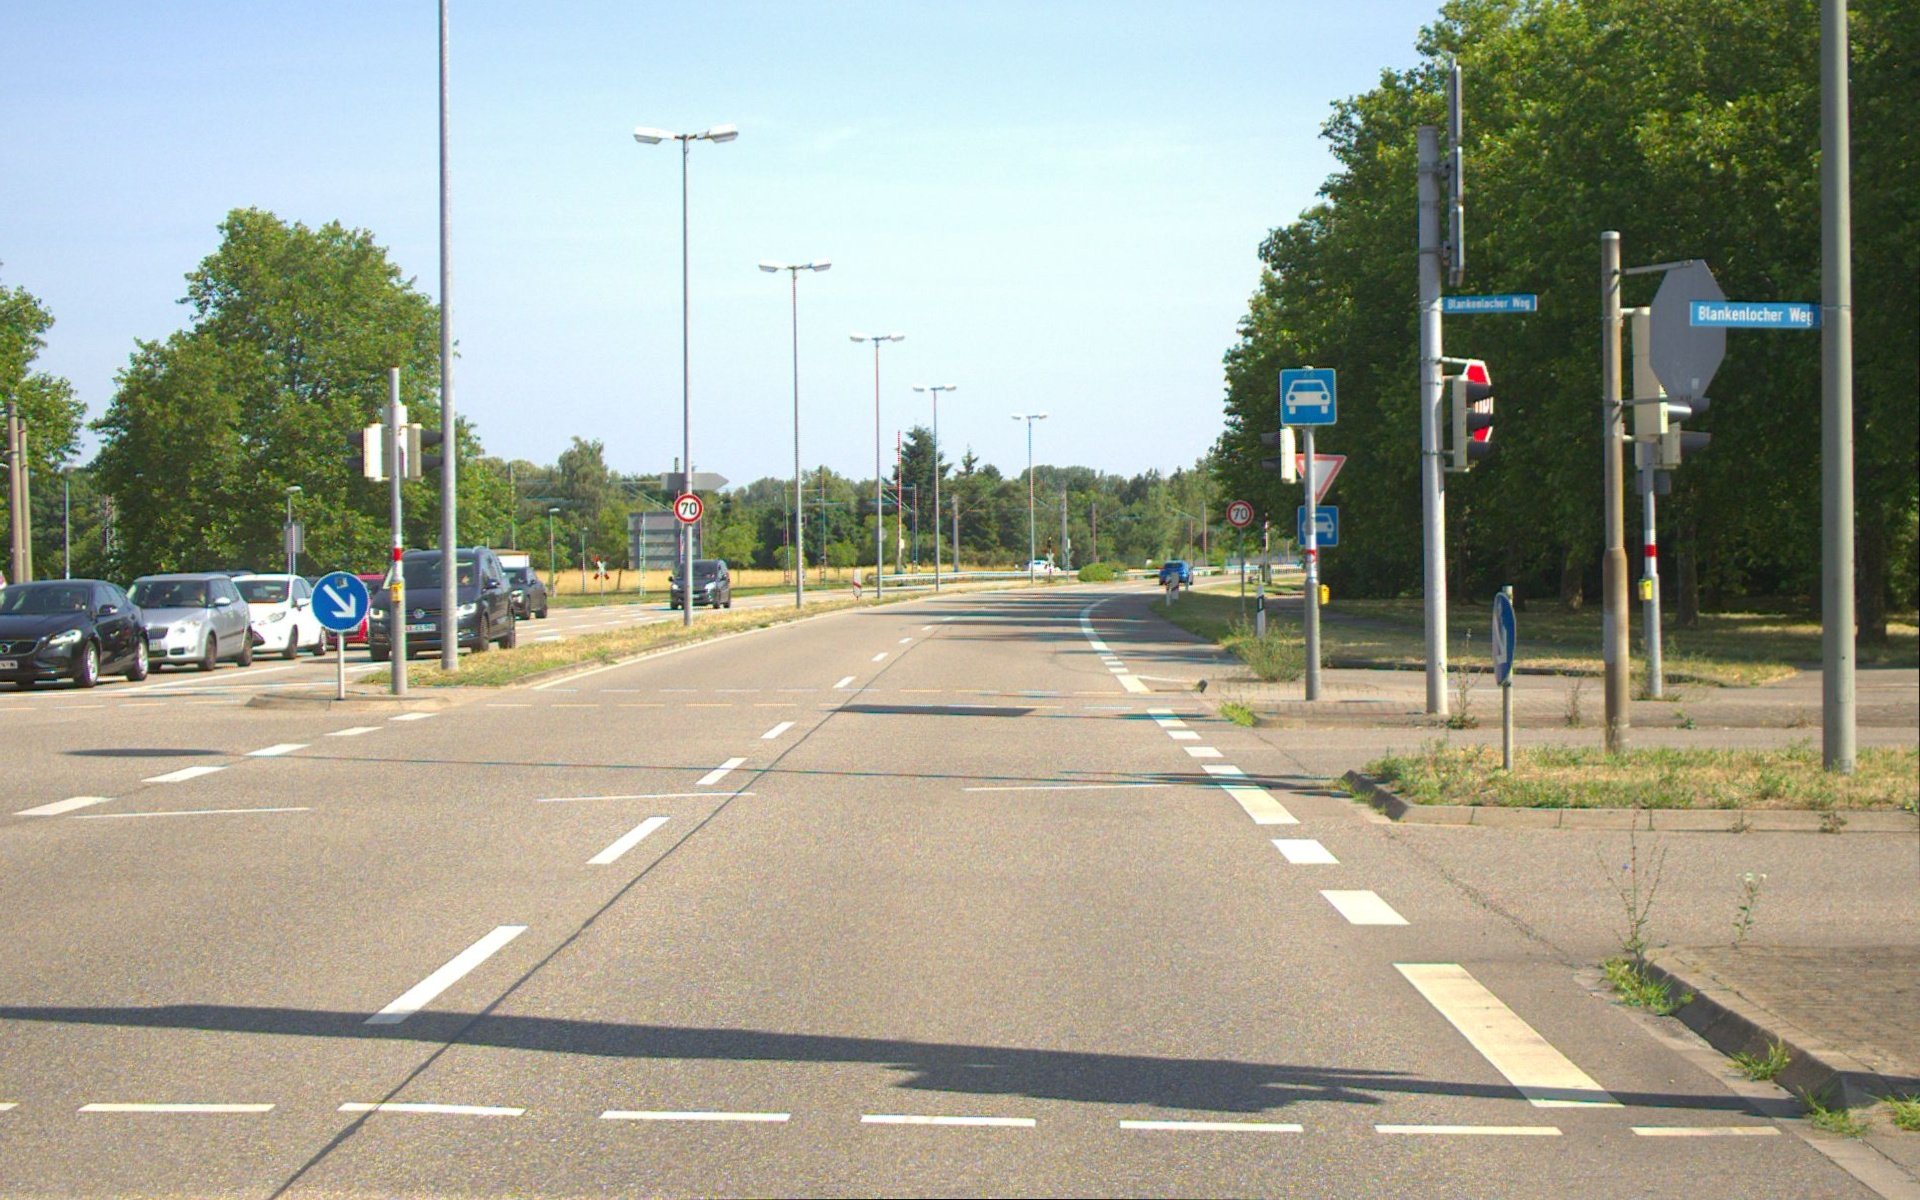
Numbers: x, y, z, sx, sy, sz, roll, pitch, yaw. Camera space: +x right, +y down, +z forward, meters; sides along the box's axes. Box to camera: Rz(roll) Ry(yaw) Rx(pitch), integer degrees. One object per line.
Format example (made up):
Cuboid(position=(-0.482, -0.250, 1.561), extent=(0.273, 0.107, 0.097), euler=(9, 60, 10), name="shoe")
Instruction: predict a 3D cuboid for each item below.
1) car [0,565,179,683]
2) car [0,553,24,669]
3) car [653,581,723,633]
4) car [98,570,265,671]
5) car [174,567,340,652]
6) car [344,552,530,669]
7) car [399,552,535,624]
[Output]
Cuboid(position=(-11.875, 0.289, 45.194), extent=(1.981, 1.452, 4.332), euler=(-1, 1, 3), name="car")
Cuboid(position=(-15.424, 0.204, 51.602), extent=(1.704, 1.763, 4.230), euler=(-2, 1, -2), name="car")
Cuboid(position=(-9.745, 0.221, 123.468), extent=(1.981, 1.773, 4.489), euler=(-1, 1, 2), name="car")
Cuboid(position=(-11.796, 0.279, 52.306), extent=(1.619, 1.452, 3.871), euler=(-1, 1, 0), name="car")
Cuboid(position=(-12.010, 0.138, 58.948), extent=(1.829, 1.381, 3.843), euler=(-1, 1, 3), name="car")
Cuboid(position=(-8.213, 0.131, 54.338), extent=(1.981, 1.744, 4.507), euler=(-1, 1, 3), name="car")
Cuboid(position=(-10.379, -0.281, 72.717), extent=(1.981, 1.452, 4.450), euler=(-1, 1, 3), name="car")
